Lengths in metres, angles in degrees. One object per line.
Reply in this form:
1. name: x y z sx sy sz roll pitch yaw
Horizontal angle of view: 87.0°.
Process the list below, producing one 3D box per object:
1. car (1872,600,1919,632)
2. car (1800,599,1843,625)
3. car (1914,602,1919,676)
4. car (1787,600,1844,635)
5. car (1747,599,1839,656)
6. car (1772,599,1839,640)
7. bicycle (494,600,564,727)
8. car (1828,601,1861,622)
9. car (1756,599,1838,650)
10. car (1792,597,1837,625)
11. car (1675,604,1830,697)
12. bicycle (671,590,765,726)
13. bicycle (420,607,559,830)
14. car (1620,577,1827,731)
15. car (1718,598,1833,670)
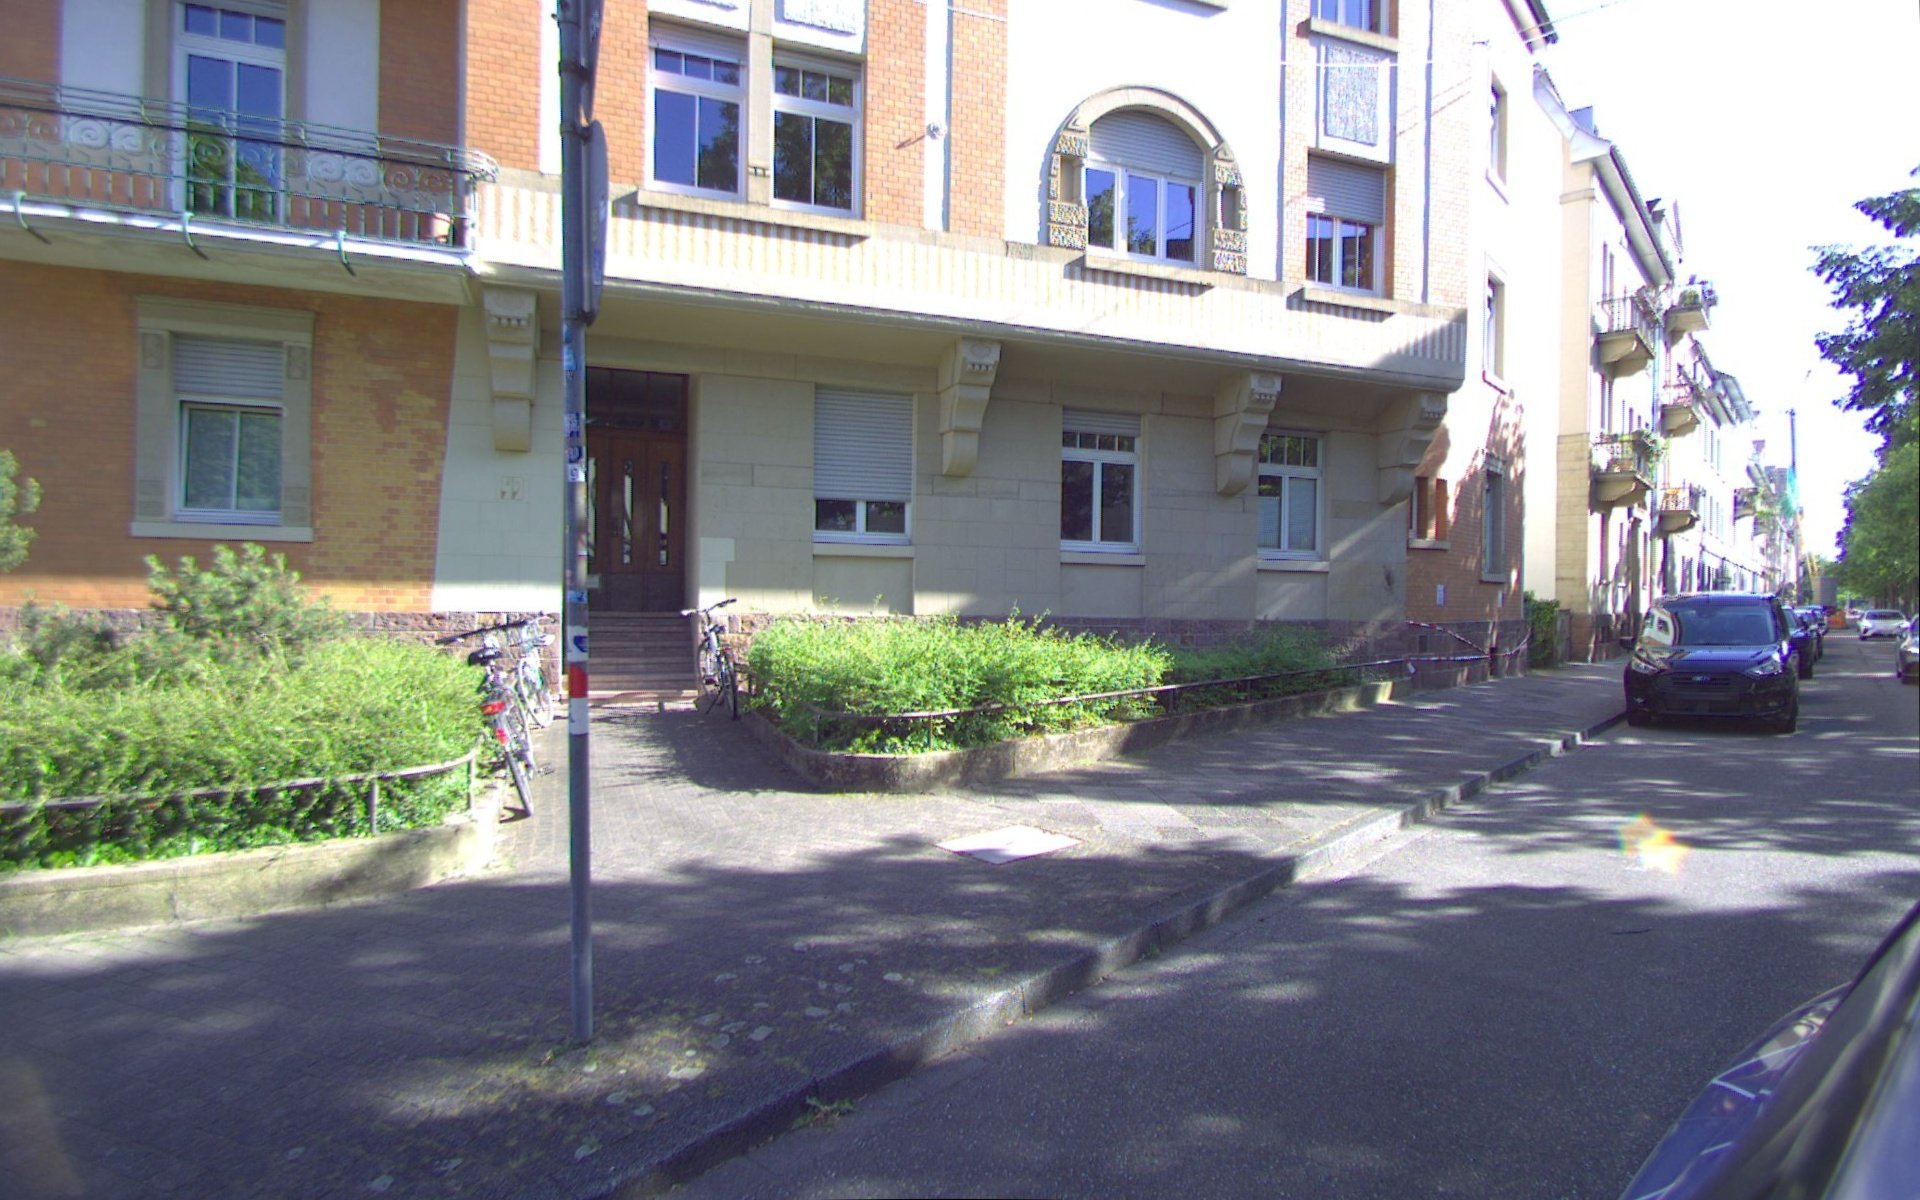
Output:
1. car: 45.617 0.758 49.201 1.792 1.453 4.142 0 -1 44
2. car: 53.734 0.737 63.083 1.792 1.576 4.142 -2 -2 43
3. car: 20.877 0.781 20.826 1.792 1.453 4.142 -1 -1 43
4. car: 40.748 0.837 48.178 1.792 1.576 4.142 -2 -2 43
5. car: 24.695 0.801 29.959 1.792 1.576 4.142 -2 -2 43
6. car: 34.101 0.791 40.780 1.792 1.576 4.142 -2 -2 43
7. bicycle: -4.181 0.574 9.897 0.489 1.085 1.678 1 1 -19
8. car: 70.445 0.926 80.561 1.792 1.576 4.142 -2 -2 43
9. car: 27.909 0.803 33.695 1.792 1.576 4.142 -2 -2 43
10. car: 50.315 0.683 59.567 1.792 1.576 4.142 -2 -2 43
11. car: 14.401 0.845 18.306 1.792 1.472 4.142 -2 -2 43
12. bicycle: -2.504 0.533 10.326 0.583 1.227 1.804 1 1 -24
13. bicycle: -2.964 0.646 6.464 0.674 1.135 1.947 1 1 -23
14. car: 10.585 0.666 13.911 1.792 1.790 4.142 -2 -2 43
15. car: 19.574 0.778 24.216 1.792 1.576 4.142 -2 -2 43
